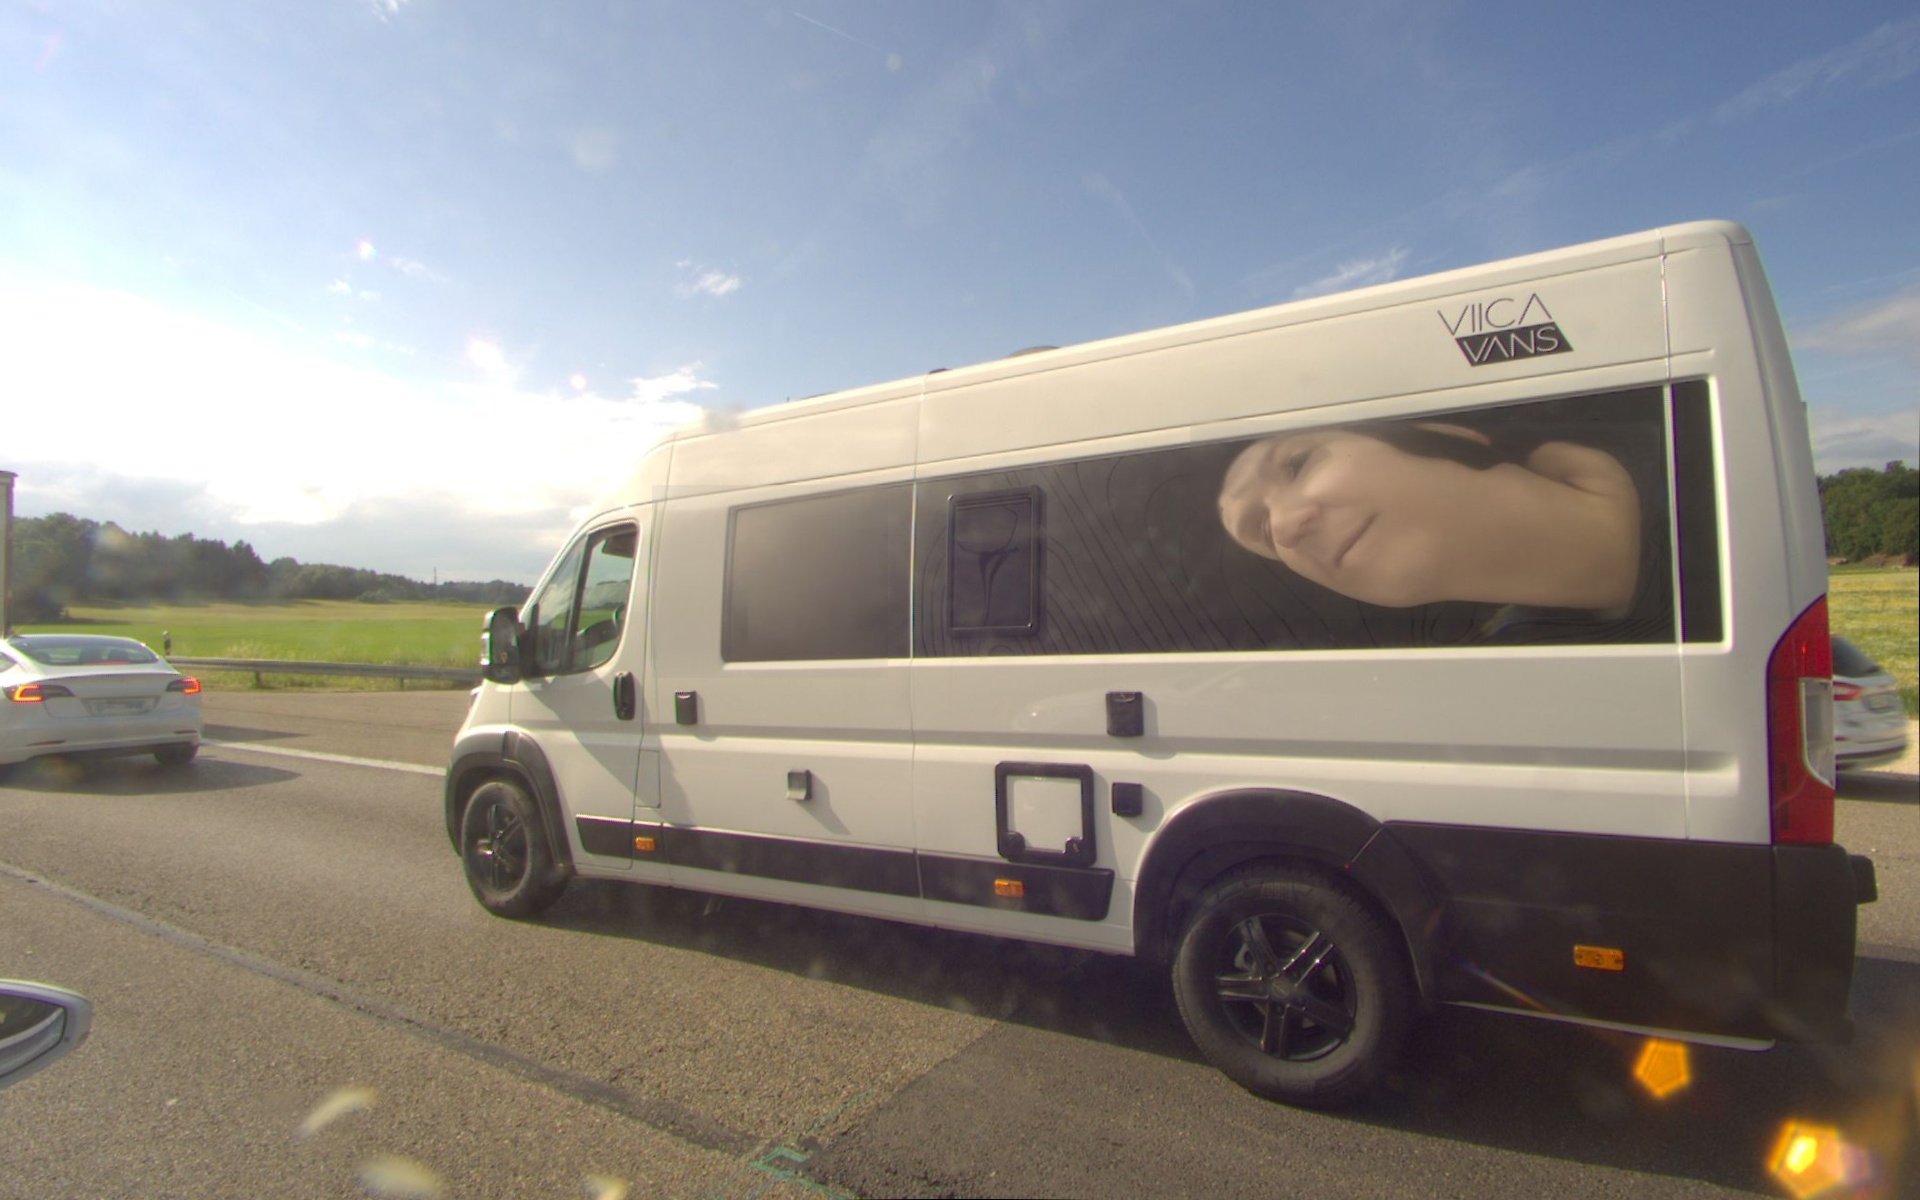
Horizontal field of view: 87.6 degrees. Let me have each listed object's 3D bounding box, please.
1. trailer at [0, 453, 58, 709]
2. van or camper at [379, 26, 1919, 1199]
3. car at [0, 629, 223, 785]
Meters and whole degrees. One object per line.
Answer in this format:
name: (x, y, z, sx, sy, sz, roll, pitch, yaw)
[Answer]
trailer: (-21.200, -0.112, 18.740, 13.181, 4.061, 3.125, -2, -2, 33)
van or camper: (0.056, 0.180, 4.754, 6.241, 2.716, 2.211, -1, -1, 32)
car: (-10.240, 1.039, 11.088, 4.371, 1.412, 1.786, -1, -1, 30)
